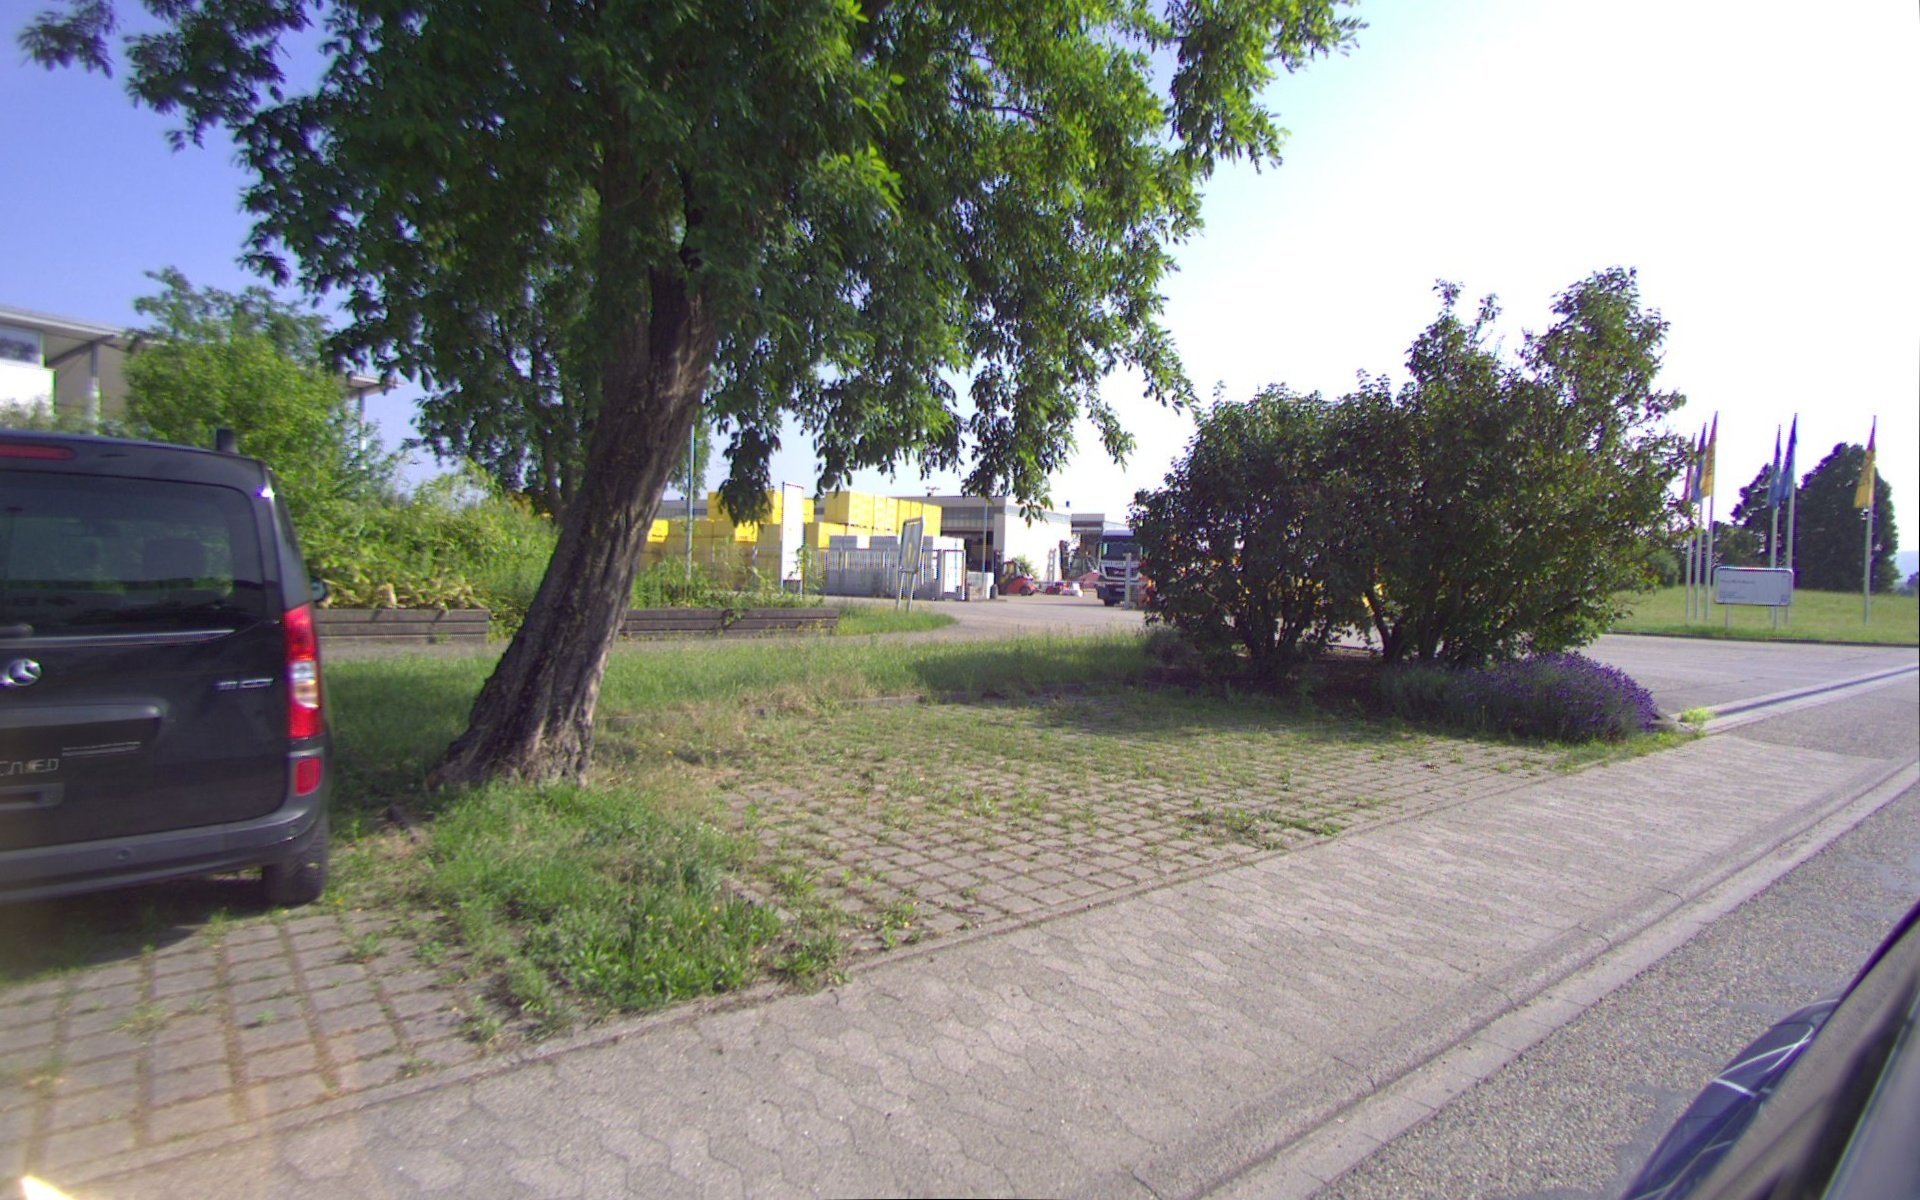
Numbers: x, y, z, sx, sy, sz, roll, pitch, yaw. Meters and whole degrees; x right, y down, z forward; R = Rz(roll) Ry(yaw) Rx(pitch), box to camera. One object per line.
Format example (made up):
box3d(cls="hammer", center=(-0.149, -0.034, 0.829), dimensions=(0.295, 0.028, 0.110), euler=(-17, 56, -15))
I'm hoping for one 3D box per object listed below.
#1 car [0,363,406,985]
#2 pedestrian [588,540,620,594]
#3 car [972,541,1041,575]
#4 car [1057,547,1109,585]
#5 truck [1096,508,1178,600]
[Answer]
box3d(cls="car", center=(-3.994, 0.134, 4.666), dimensions=(1.963, 1.860, 3.999), euler=(0, 3, -37))
box3d(cls="pedestrian", center=(-13.802, -1.278, 39.275), dimensions=(1.137, 2.039, 0.984), euler=(-1, 0, -19))
box3d(cls="car", center=(3.007, -2.739, 65.738), dimensions=(3.968, 2.038, 1.979), euler=(3, 3, 31))
box3d(cls="car", center=(9.354, -2.561, 76.867), dimensions=(3.487, 2.744, 1.693), euler=(3, 2, 31))
box3d(cls="truck", center=(8.027, -1.996, 45.648), dimensions=(2.523, 3.924, 3.960), euler=(0, 1, 29))
